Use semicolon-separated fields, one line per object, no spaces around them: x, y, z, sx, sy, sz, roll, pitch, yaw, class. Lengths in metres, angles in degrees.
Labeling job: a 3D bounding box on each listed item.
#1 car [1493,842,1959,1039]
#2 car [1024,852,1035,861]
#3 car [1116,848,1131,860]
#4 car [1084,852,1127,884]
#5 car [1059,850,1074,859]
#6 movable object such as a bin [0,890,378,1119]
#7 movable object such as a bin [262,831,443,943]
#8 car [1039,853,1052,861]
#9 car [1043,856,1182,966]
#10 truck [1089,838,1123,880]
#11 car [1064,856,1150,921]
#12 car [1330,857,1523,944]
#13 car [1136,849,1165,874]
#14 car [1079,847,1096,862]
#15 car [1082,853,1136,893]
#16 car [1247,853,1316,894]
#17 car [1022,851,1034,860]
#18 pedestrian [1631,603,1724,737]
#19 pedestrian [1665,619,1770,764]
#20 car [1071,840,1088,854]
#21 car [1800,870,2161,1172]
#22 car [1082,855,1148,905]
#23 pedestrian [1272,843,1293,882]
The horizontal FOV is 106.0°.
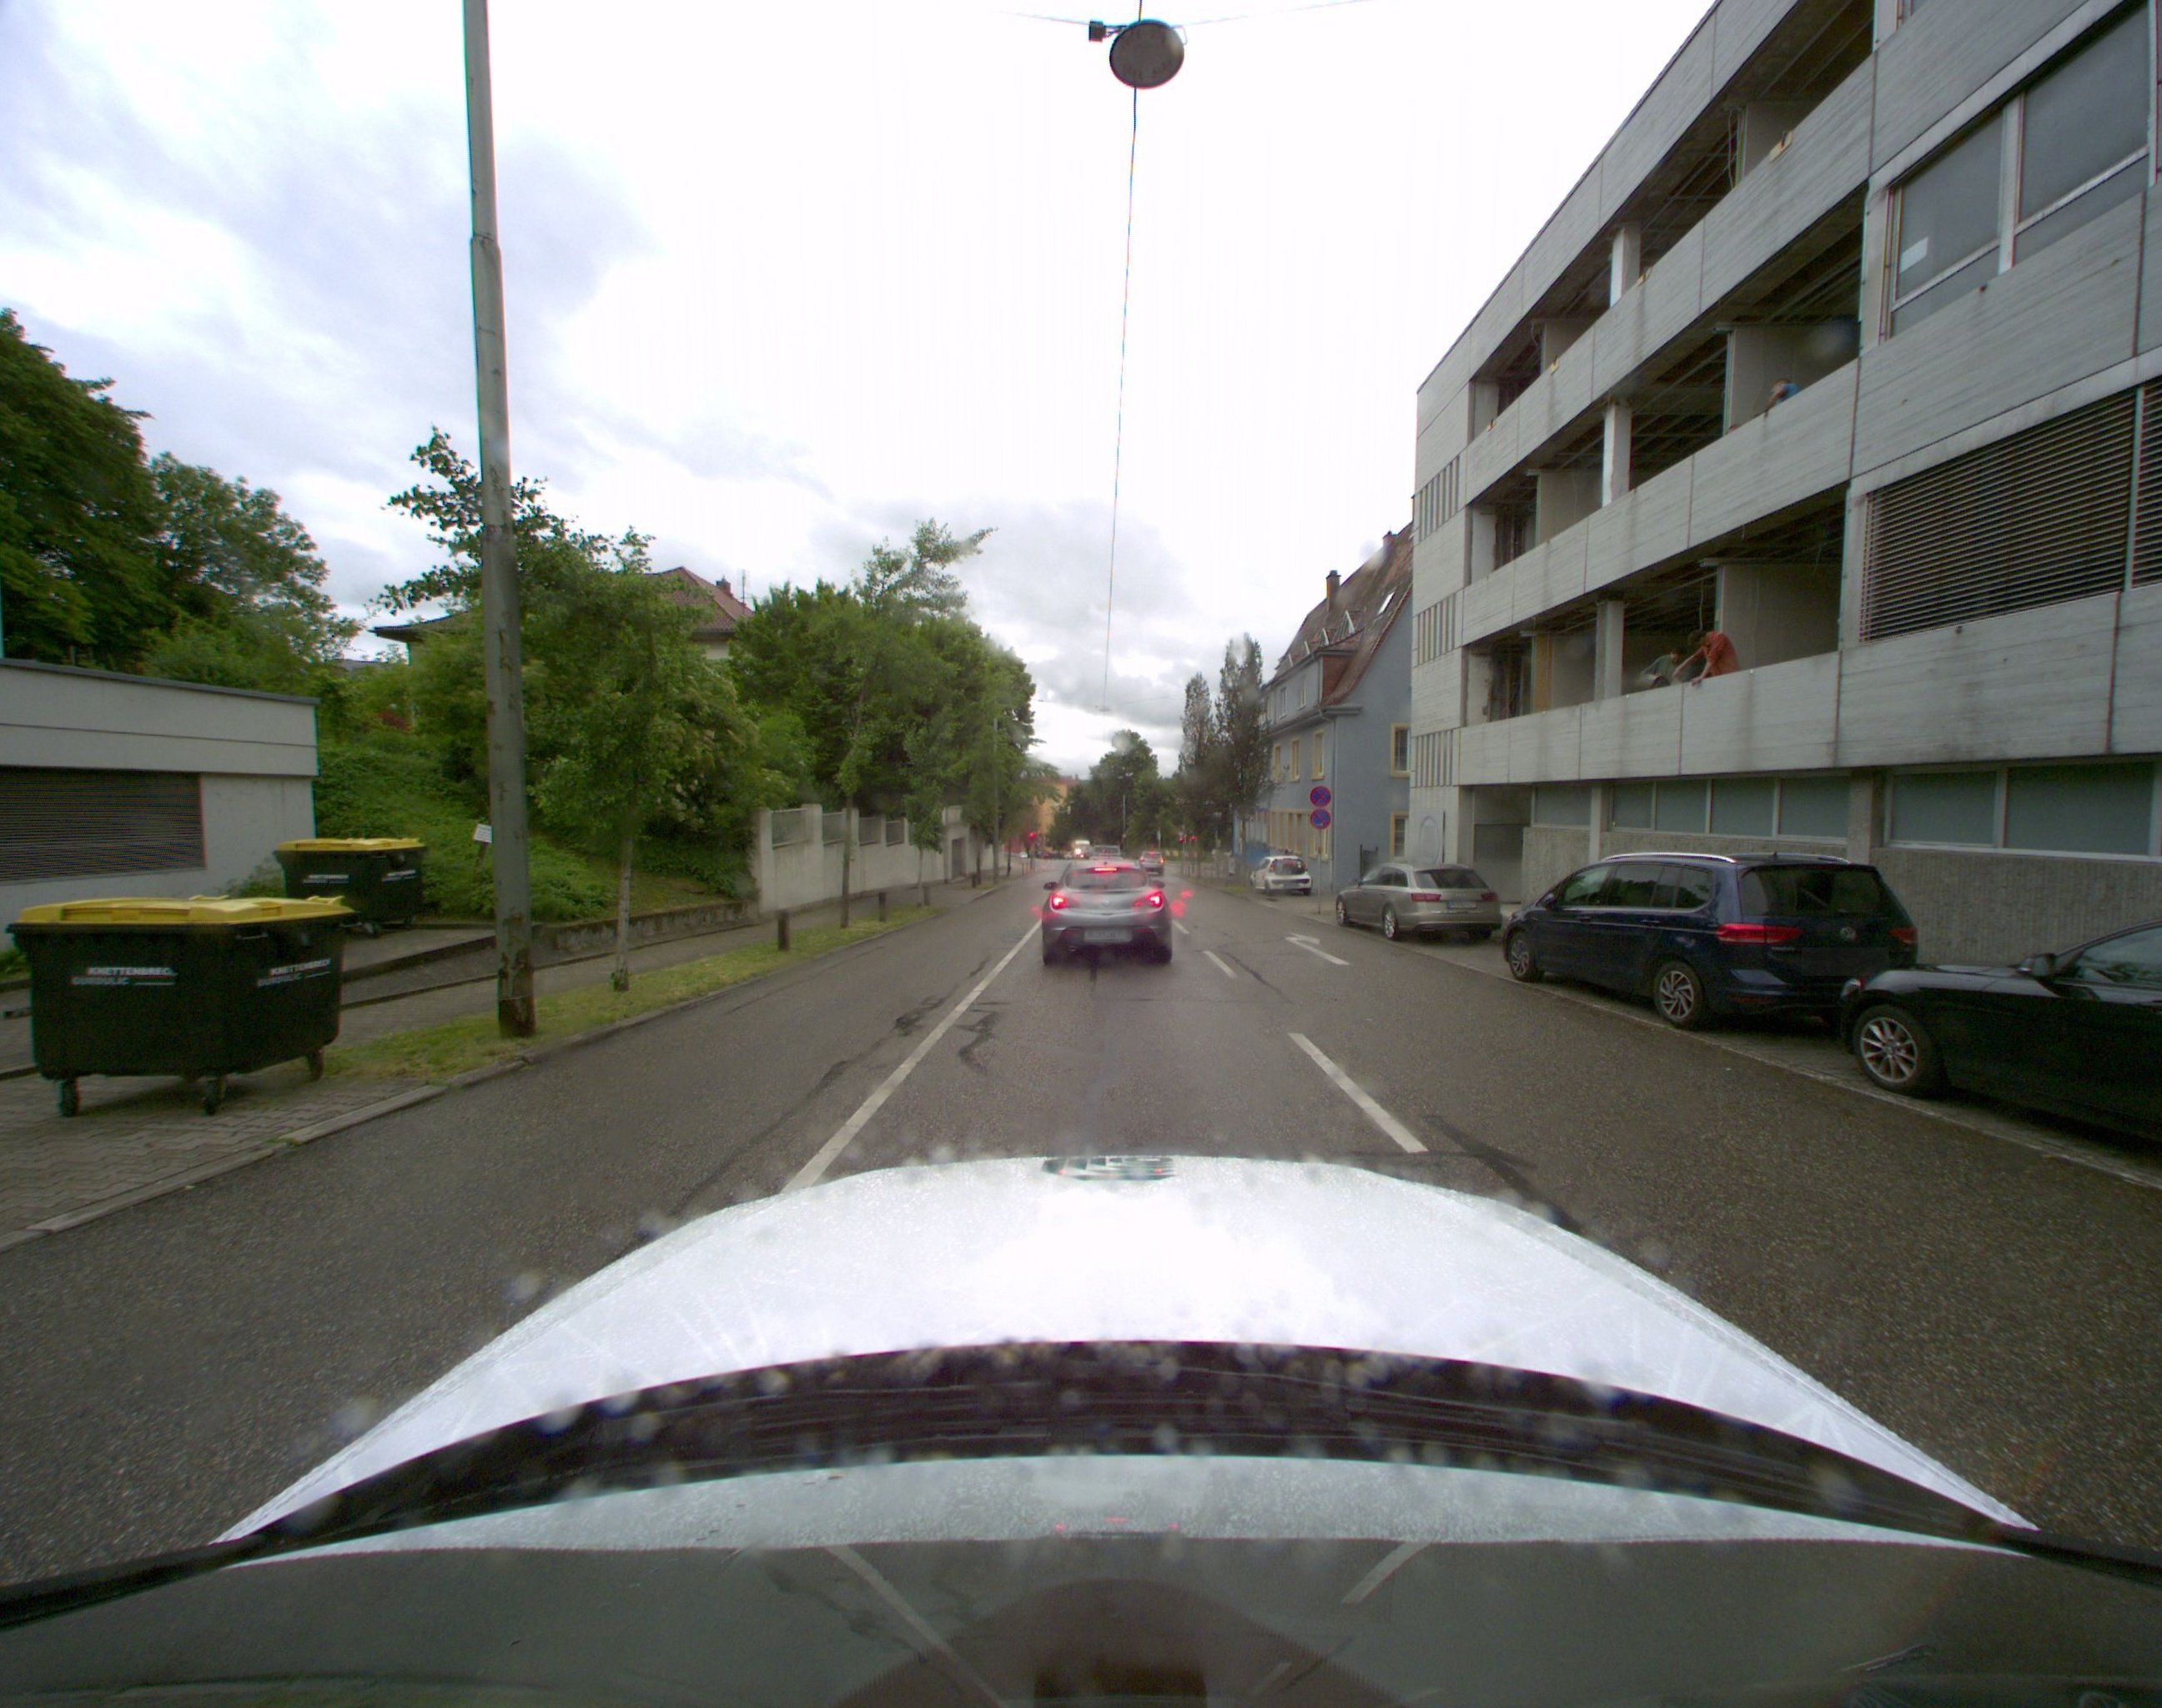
6.362;0.710;8.777;1.723;1.599;4.160;-1;0;0;car
-10.165;0.533;159.862;1.722;1.638;3.867;1;-1;-9;car
5.827;0.028;111.566;1.718;1.638;3.877;-1;0;-2;car
1.174;0.657;39.805;1.955;1.448;4.305;1;0;1;car
-2.573;0.103;142.214;1.726;1.543;3.858;-1;0;-16;car
-5.916;0.932;5.528;1.296;1.306;1.153;0;1;-7;movable object such as a bin
-9.966;0.420;11.226;1.296;1.363;1.225;0;6;-5;movable object such as a bin
-6.963;0.581;161.086;1.726;1.638;3.858;-1;0;-16;car
0.419;0.764;12.703;1.831;1.434;3.879;0;0;0;car
1.497;0.260;49.807;1.955;2.429;4.936;1;0;1;truck
0.629;0.816;21.041;1.955;1.448;4.305;1;0;1;car
6.684;0.812;16.383;1.956;1.448;4.526;0;0;0;car
4.883;0.525;57.766;1.717;1.714;3.879;-1;0;0;car
0.763;0.045;95.374;1.864;1.638;3.880;-1;0;0;car
1.049;0.705;32.142;1.955;1.448;4.305;1;0;1;car
7.594;0.712;31.254;1.717;1.448;3.880;-1;0;1;car
-9.055;0.305;138.909;1.717;1.460;3.880;-1;0;1;car
9.805;-3.001;13.429;0.904;2.014;0.861;0;-1;1;pedestrian
9.601;-2.427;12.319;0.904;2.014;0.861;0;-1;1;pedestrian
-0.166;-0.855;103.043;1.721;1.638;3.870;-1;0;-7;car
6.297;0.860;4.140;1.740;1.448;4.256;-1;0;4;car
1.055;0.783;26.757;1.955;1.448;4.305;1;0;1;car
9.131;0.376;36.925;0.780;1.729;0.651;1;0;1;pedestrian
